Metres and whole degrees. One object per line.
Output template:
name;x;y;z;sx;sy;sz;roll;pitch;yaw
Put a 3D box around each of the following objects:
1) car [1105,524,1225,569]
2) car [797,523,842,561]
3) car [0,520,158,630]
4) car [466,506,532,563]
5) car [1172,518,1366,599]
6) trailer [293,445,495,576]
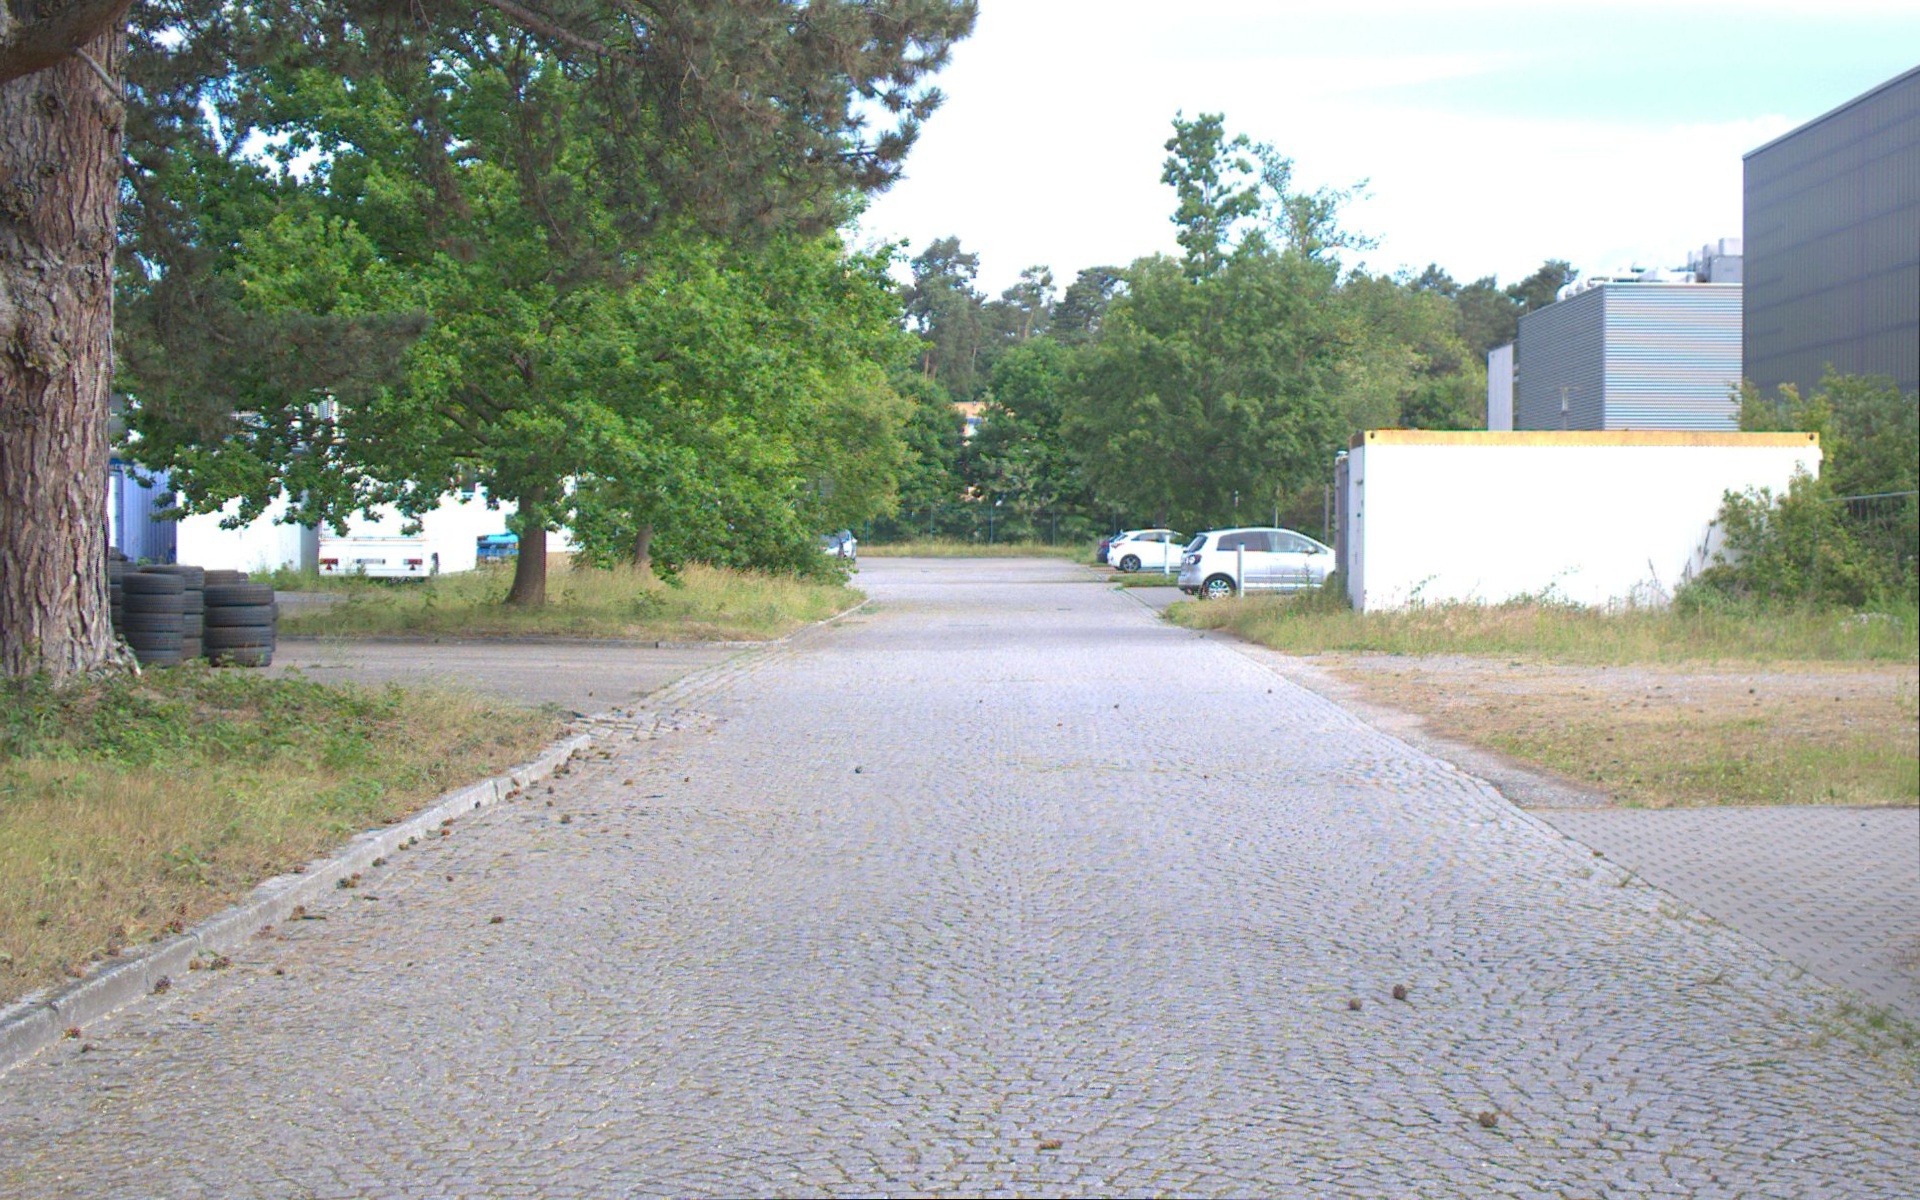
car;7.010;-1.845;117.791;4.025;1.496;1.548;0;1;2
car;-5.582;-2.326;137.051;1.735;1.464;4.046;0;1;-2
car;-12.454;-0.368;47.180;1.767;1.448;3.487;0;1;6
car;-16.777;-2.400;125.278;1.925;2.040;4.601;0;1;-2
car;6.419;-0.880;71.651;3.849;1.649;1.686;0;1;-2
trailer;-13.809;-2.192;84.633;3.159;3.057;8.784;0;1;2
